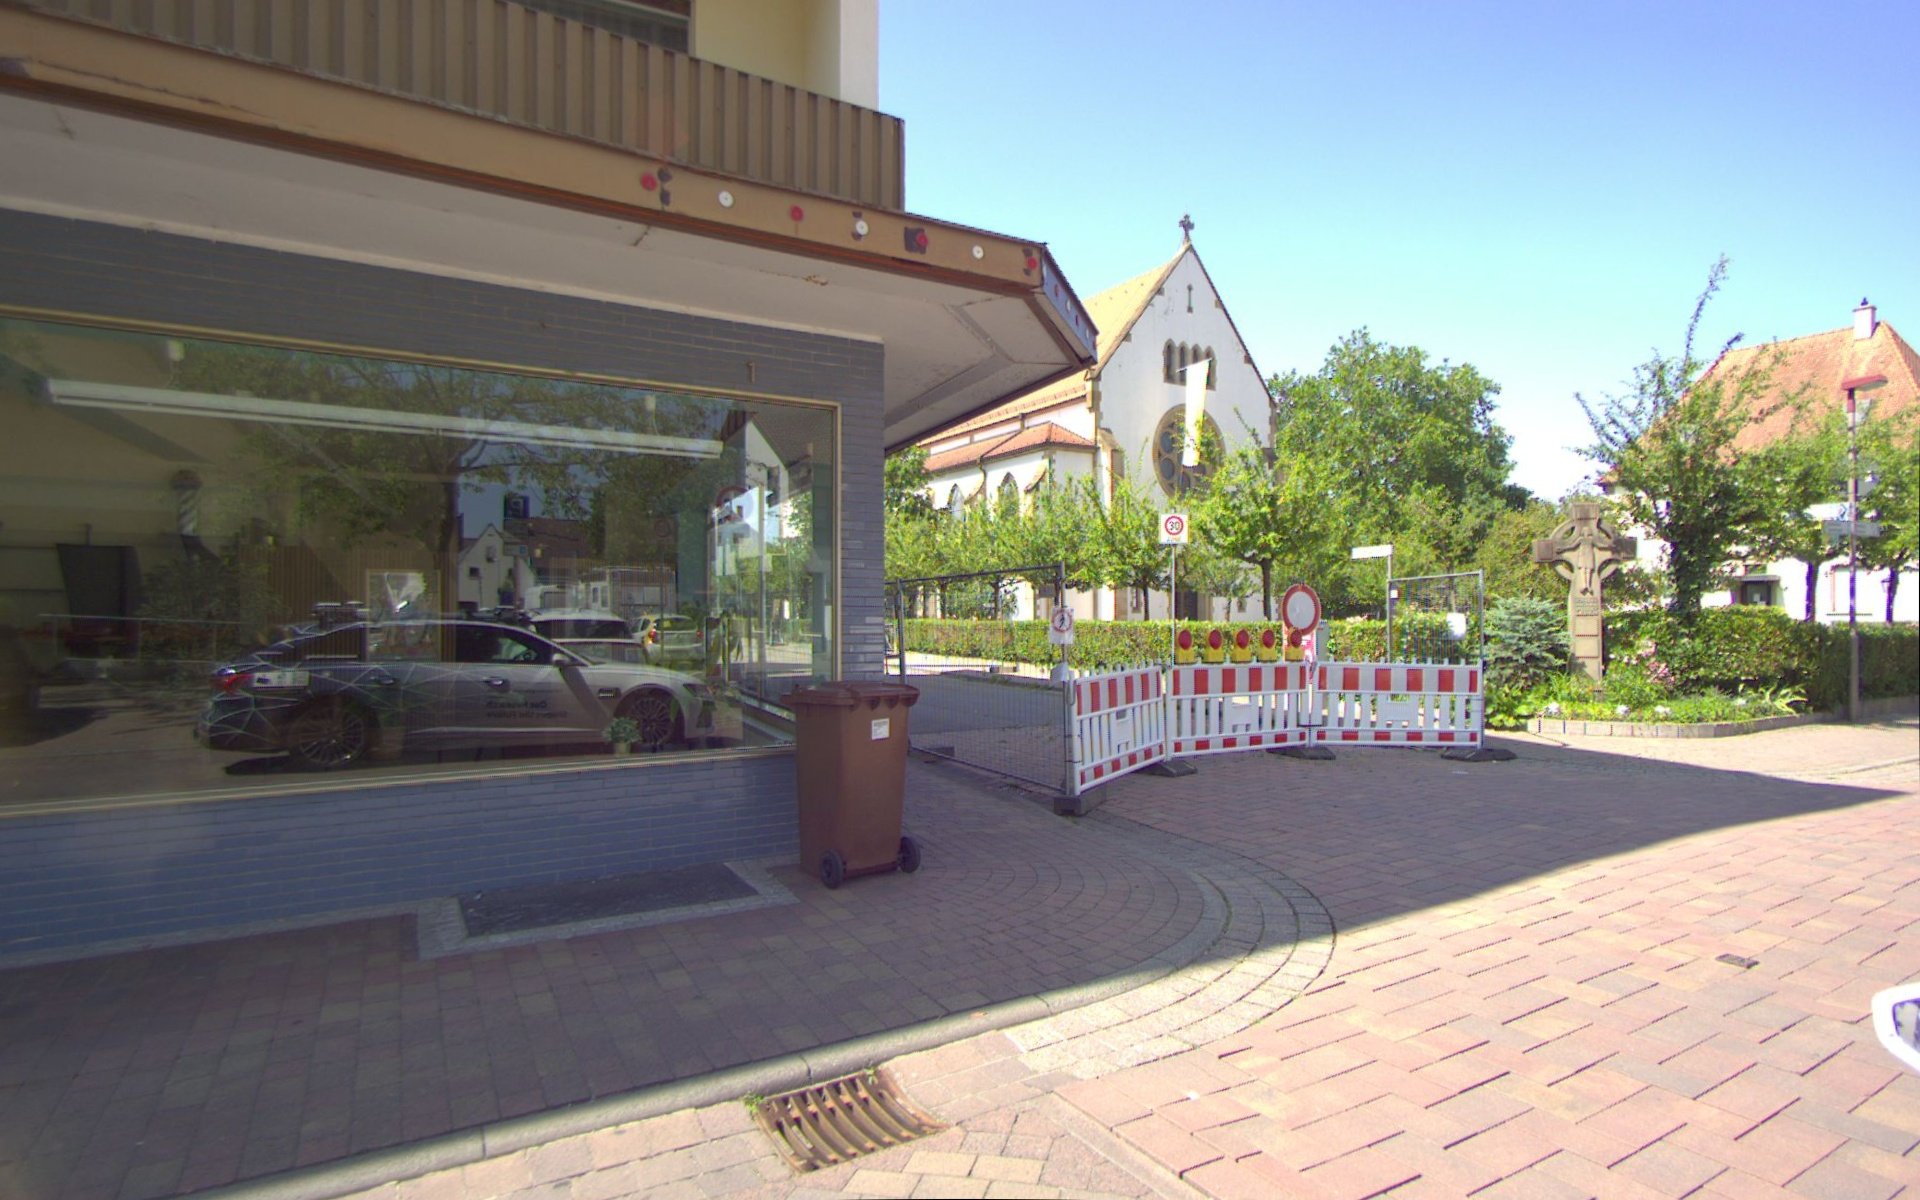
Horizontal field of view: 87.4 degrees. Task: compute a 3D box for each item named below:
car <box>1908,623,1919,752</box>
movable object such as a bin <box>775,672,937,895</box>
[{"bbox_3d":[13.344,1.053,12.369,3.818,1.516,1.691,1,-1,-35],"label":"car"},{"bbox_3d":[-0.587,0.974,5.612,0.657,1.084,0.650,1,0,-37],"label":"movable object such as a bin"}]
